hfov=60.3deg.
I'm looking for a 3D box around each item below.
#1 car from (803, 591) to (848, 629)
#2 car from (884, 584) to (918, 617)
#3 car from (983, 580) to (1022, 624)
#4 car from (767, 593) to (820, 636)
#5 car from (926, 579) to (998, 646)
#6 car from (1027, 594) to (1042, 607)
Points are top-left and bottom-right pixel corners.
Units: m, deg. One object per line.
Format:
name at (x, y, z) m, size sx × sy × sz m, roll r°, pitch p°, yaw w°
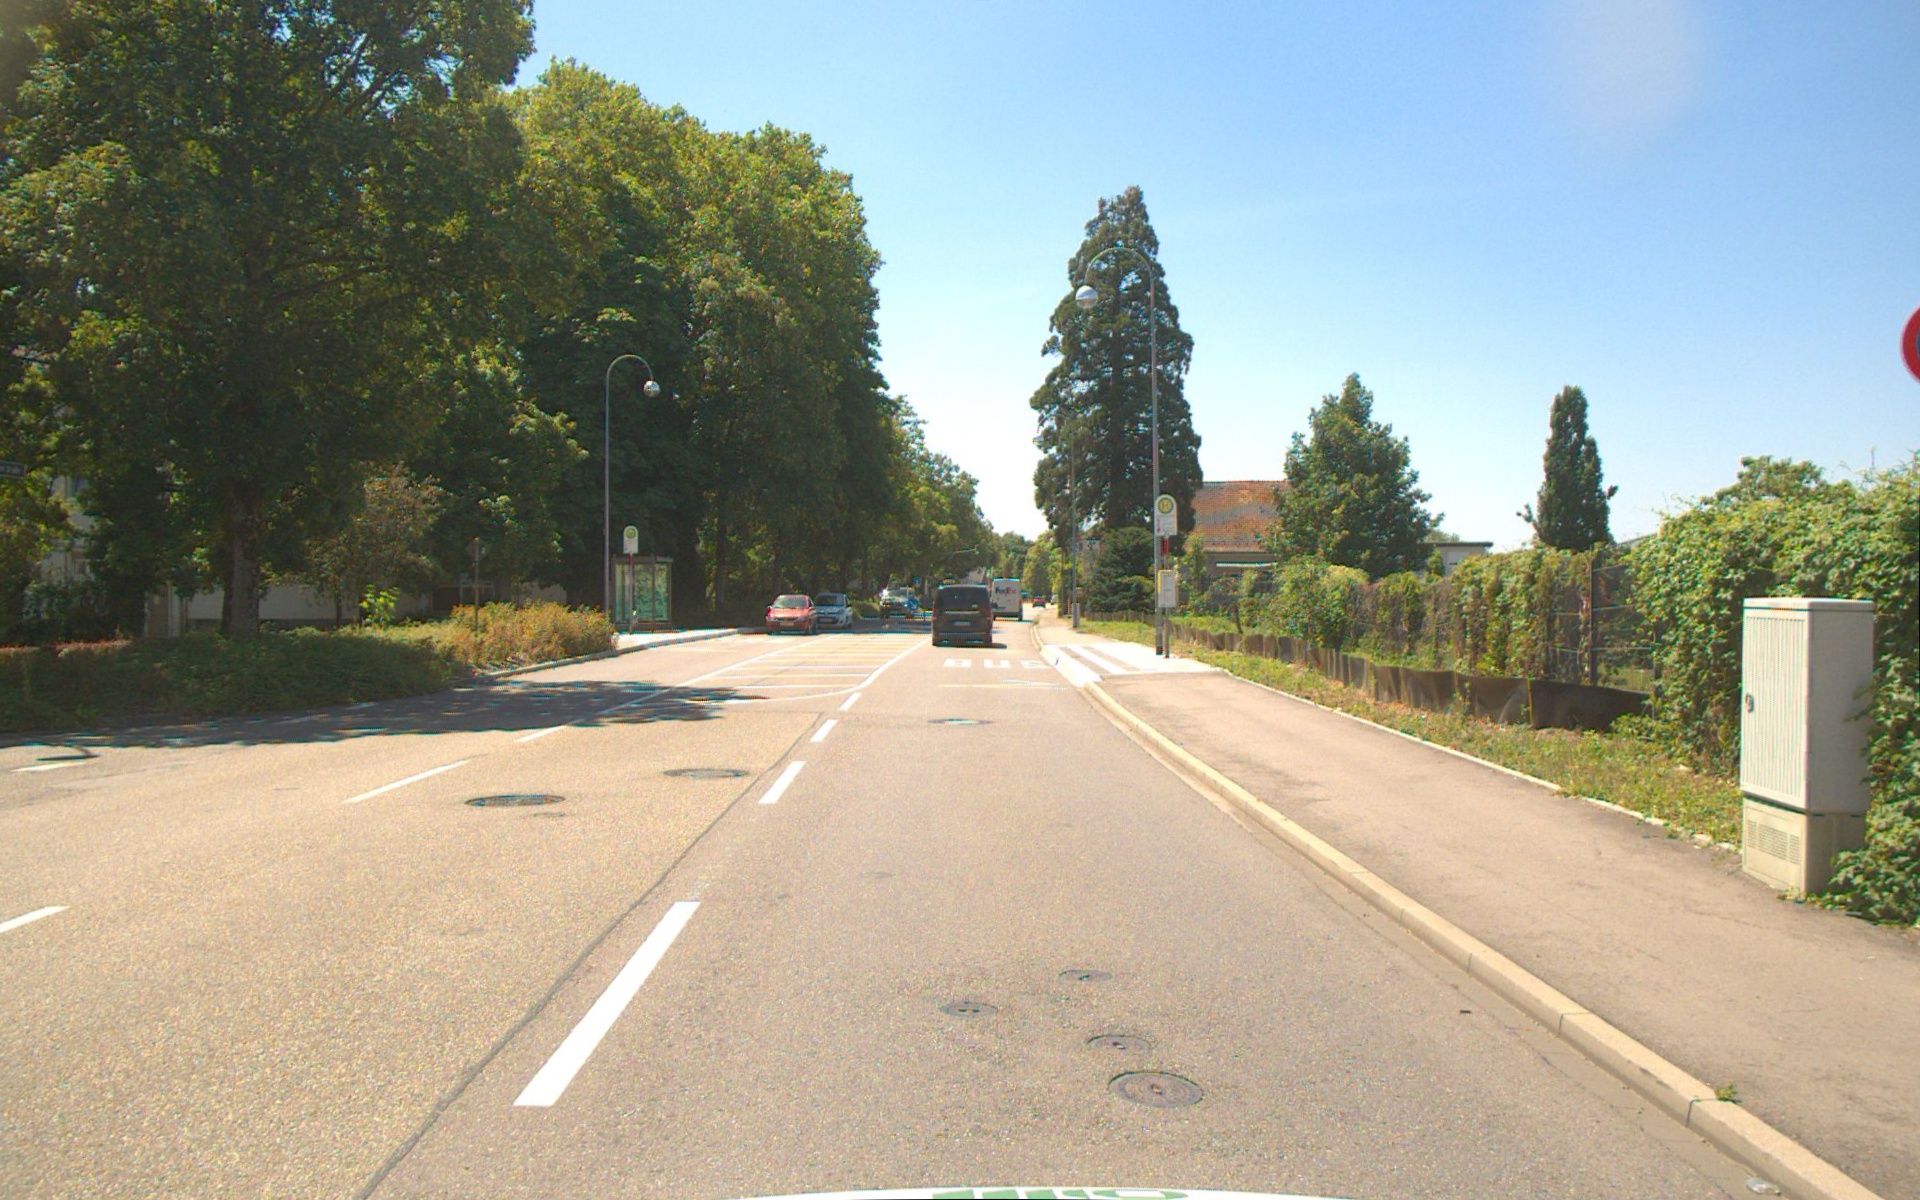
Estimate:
car at (-5.731, 0.419, 70.079) m, size 1.659 × 1.485 × 3.633 m, roll 1°, pitch 1°, yaw -9°
car at (-3.678, 0.000, 102.686) m, size 1.954 × 1.943 × 4.988 m, roll 1°, pitch 1°, yaw -3°
car at (2.705, 0.088, 106.063) m, size 2.078 × 2.724 × 5.659 m, roll 1°, pitch 1°, yaw -3°
car at (-6.039, 0.511, 60.182) m, size 1.518 × 1.476 × 3.691 m, roll 1°, pitch 0°, yaw 0°
car at (0.020, 0.344, 51.060) m, size 1.954 × 1.926 × 3.997 m, roll 1°, pitch 1°, yaw -4°
car at (10.207, 0.057, 226.910) m, size 1.820 × 1.671 × 4.000 m, roll 1°, pitch 1°, yaw -1°
